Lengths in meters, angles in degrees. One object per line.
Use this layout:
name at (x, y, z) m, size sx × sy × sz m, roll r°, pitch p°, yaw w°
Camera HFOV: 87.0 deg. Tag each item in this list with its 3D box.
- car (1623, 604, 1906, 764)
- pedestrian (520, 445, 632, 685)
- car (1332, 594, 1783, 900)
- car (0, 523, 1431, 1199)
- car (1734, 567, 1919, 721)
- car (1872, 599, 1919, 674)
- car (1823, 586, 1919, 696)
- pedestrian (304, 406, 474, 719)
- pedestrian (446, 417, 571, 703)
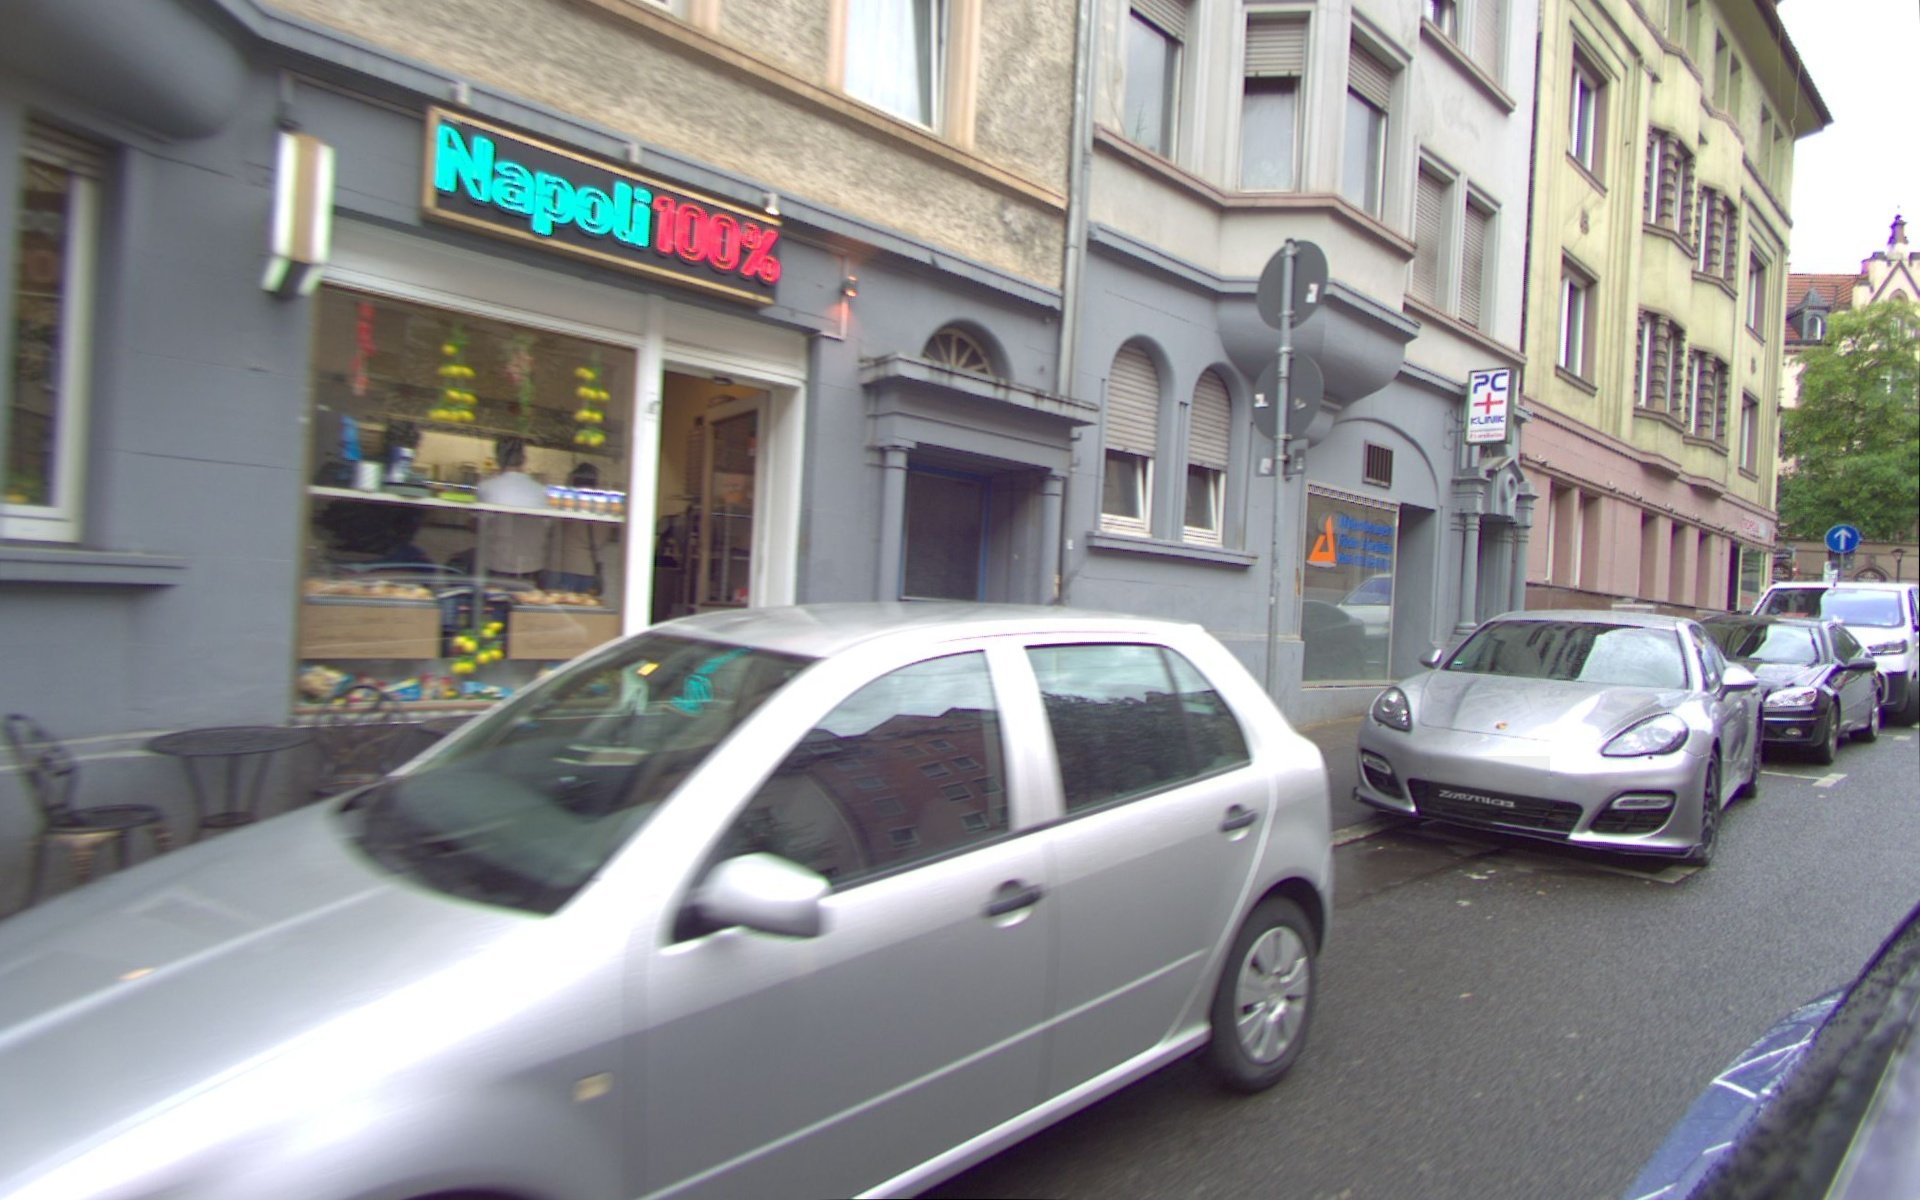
car at (8.888, 0.757, 11.052) m, size 4.201 × 1.392 × 1.680 m, roll 0°, pitch 1°, yaw -41°
pedestrian at (-2.755, -0.252, 7.280) m, size 0.414 × 1.640 × 0.596 m, roll 3°, pitch 2°, yaw 32°
car at (4.580, 0.712, 7.349) m, size 1.875 × 1.486 × 4.701 m, roll 1°, pitch 1°, yaw 43°
car at (-0.396, 0.654, 2.796) m, size 3.945 × 1.493 × 1.614 m, roll 0°, pitch 0°, yaw -41°
car at (13.110, 0.528, 14.727) m, size 4.921 × 1.849 × 1.923 m, roll 0°, pitch 3°, yaw -41°
car at (22.058, 0.791, 22.805) m, size 4.415 × 1.584 × 1.801 m, roll 0°, pitch 0°, yaw -42°
car at (17.333, 0.696, 18.311) m, size 4.595 × 1.752 × 1.883 m, roll 0°, pitch 3°, yaw -41°
pedestrian at (-3.191, -0.214, 5.689) m, size 0.479 × 1.640 × 0.663 m, roll 3°, pitch 2°, yaw 19°
pedestrian at (-2.745, -0.231, 6.142) m, size 0.613 × 1.640 × 0.417 m, roll 1°, pitch 2°, yaw -32°
